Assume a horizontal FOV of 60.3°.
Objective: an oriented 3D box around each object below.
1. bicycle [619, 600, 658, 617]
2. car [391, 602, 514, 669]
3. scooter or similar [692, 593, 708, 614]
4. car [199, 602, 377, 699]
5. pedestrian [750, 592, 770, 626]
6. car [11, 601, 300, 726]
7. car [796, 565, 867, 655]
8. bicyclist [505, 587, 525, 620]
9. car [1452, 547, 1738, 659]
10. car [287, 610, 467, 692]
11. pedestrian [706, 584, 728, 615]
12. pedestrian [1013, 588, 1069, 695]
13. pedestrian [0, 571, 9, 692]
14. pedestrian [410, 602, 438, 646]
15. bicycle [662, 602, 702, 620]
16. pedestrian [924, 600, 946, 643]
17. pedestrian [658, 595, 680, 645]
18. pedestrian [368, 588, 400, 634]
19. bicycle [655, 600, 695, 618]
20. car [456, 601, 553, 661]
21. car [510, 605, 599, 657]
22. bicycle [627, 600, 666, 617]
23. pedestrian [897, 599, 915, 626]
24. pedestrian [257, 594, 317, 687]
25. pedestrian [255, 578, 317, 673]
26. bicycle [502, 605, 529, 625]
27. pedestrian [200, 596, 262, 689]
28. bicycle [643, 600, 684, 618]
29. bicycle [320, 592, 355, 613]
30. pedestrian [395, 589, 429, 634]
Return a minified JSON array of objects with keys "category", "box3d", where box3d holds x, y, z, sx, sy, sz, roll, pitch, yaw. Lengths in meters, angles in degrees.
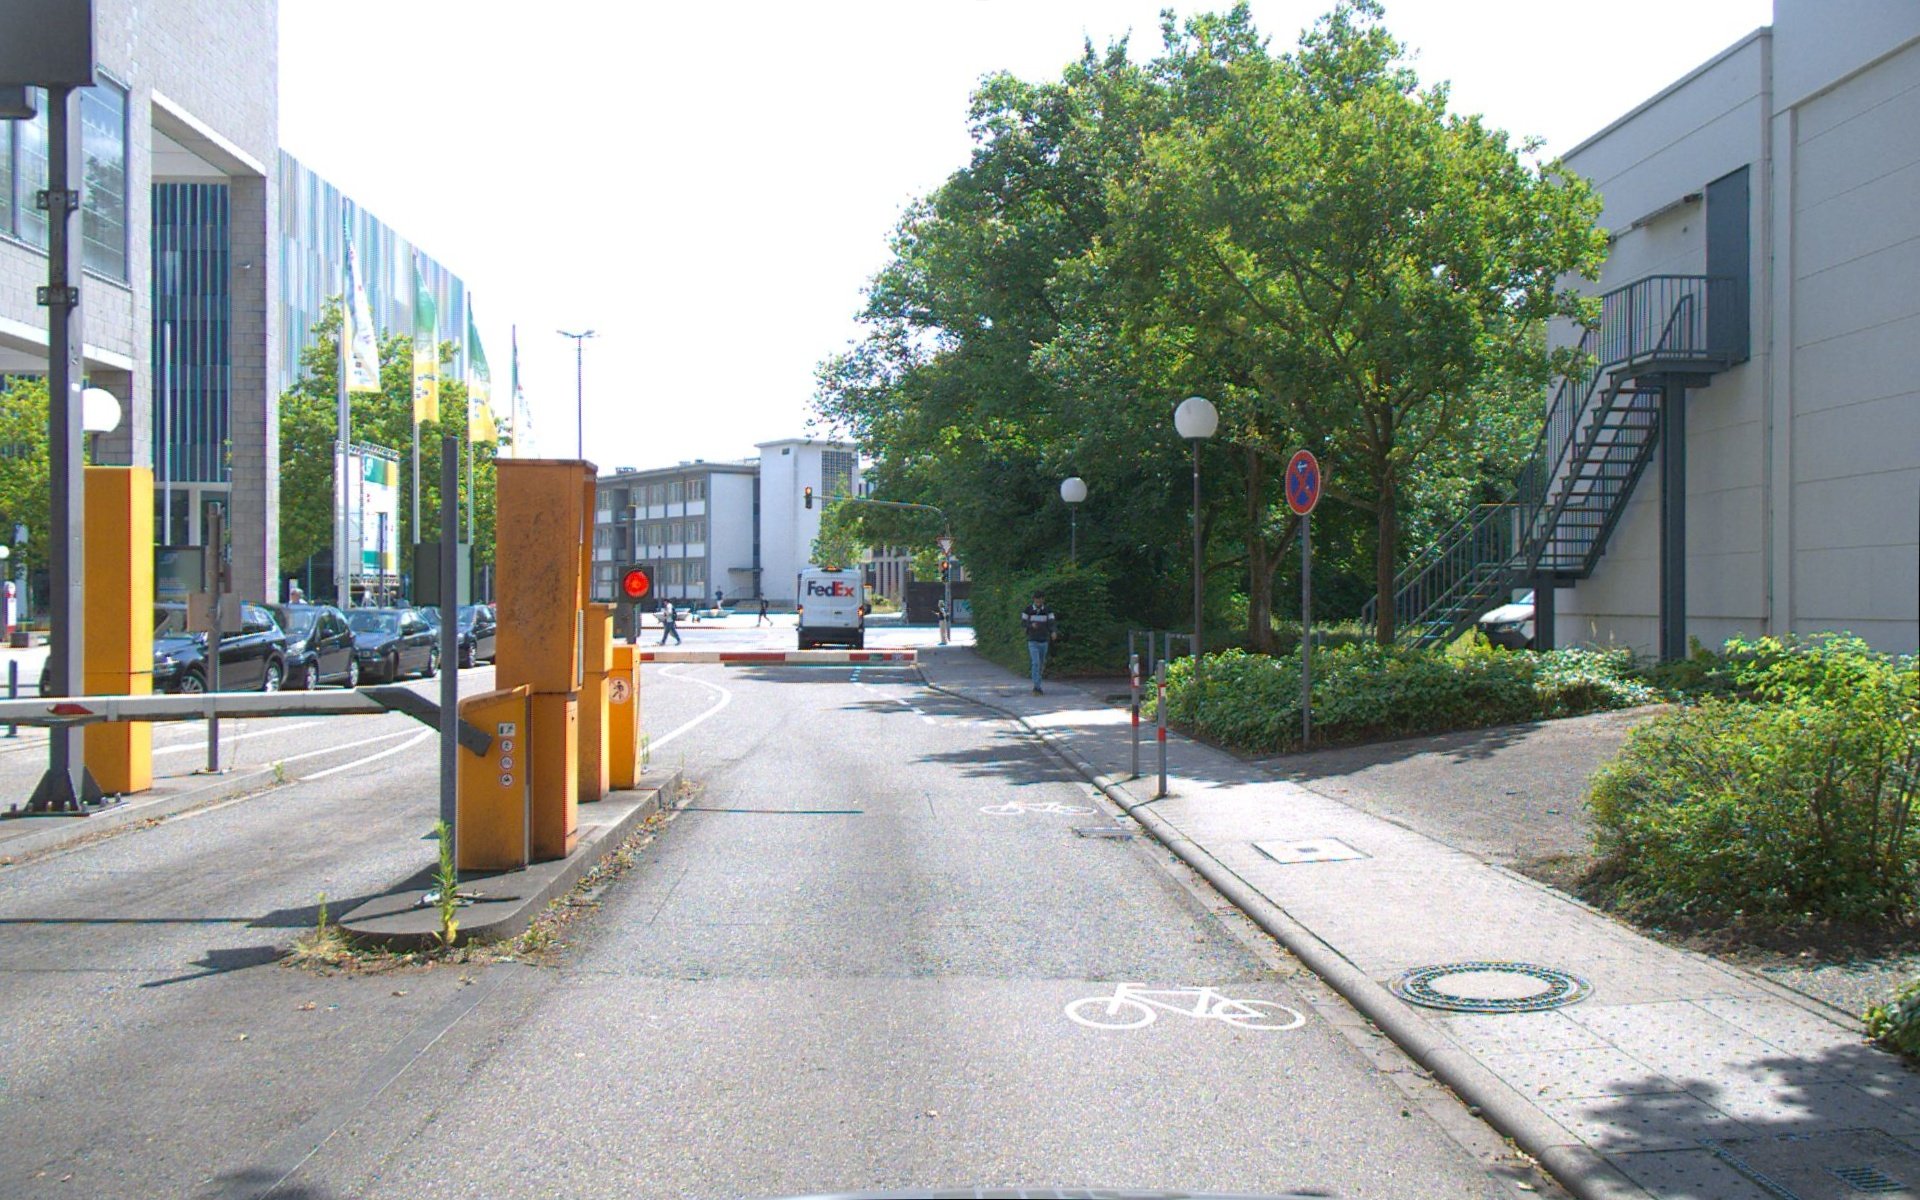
[{"category":"bicycle","box3d":[-25.894,0.673,133.254,2.938,1.387,1.101,1,-1,-41]},{"category":"car","box3d":[-12.228,0.822,40.127,1.712,1.493,4.195,2,0,-1]},{"category":"scooter or similar","box3d":[-15.061,0.223,95.742,0.704,1.199,2.716,0,0,-13]},{"category":"car","box3d":[-11.306,0.808,28.079,1.606,1.493,3.704,2,0,-3]},{"category":"pedestrian","box3d":[-11.351,0.525,93.844,1.059,1.903,0.832,0,0,-4]},{"category":"car","box3d":[-10.903,0.788,22.846,1.822,1.493,4.716,2,0,-3]},{"category":"car","box3d":[-3.927,0.275,51.267,2.053,2.611,5.598,-1,0,-3]},{"category":"bicyclist","box3d":[-25.247,0.199,93.789,0.772,1.849,1.000,0,0,6]},{"category":"car","box3d":[12.145,0.057,31.845,4.728,2.049,2.061,-1,0,-2]},{"category":"car","box3d":[-11.412,0.945,32.750,1.822,1.402,5.015,2,0,-1]},{"category":"pedestrian","box3d":[-15.850,-0.037,108.064,1.116,2.049,1.157,0,0,11]},{"category":"pedestrian","box3d":[1.309,0.661,26.997,0.725,1.704,1.255,0,0,-6]},{"category":"pedestrian","box3d":[-20.086,0.645,33.881,0.742,2.464,0.738,0,0,21]},{"category":"pedestrian","box3d":[-20.114,0.903,62.073,0.755,1.626,0.798,0,0,-1]},{"category":"bicycle","box3d":[-21.464,0.829,127.884,2.938,1.387,1.101,1,-1,-41]},{"category":"pedestrian","box3d":[-0.944,0.811,62.420,0.717,1.603,0.774,1,0,-8]},{"category":"pedestrian","box3d":[-11.093,0.747,63.144,0.705,1.892,0.770,0,0,-1]},{"category":"pedestrian","box3d":[-24.294,0.473,69.798,0.835,1.909,1.006,0,0,20]},{"category":"bicycle","box3d":[-22.242,0.720,128.944,2.938,1.387,1.101,1,-1,-41]},{"category":"car","box3d":[-12.402,0.813,45.252,1.643,1.493,3.909,2,0,-2]},{"category":"car","box3d":[-12.285,0.910,50.369,1.643,1.420,4.660,2,0,-2]},{"category":"bicycle","box3d":[-25.069,0.673,132.240,2.938,1.387,1.101,1,-1,-41]},{"category":"pedestrian","box3d":[-3.104,0.719,94.358,0.813,1.550,0.809,0,0,-22]},{"category":"pedestrian","box3d":[-15.160,0.890,37.266,0.965,2.049,1.163,0,0,-7]},{"category":"pedestrian","box3d":[-14.684,0.548,36.072,0.965,2.049,1.163,0,0,-7]},{"category":"bicycle","box3d":[-25.230,0.844,93.958,0.754,1.142,2.028,0,0,7]},{"category":"pedestrian","box3d":[-16.237,0.928,36.883,0.965,2.049,1.163,0,0,-7]},{"category":"bicycle","box3d":[-23.328,0.716,130.152,2.938,1.387,1.257,1,-1,-41]},{"category":"bicycle","box3d":[-38.026,0.133,101.010,1.362,1.259,2.915,1,0,-34]},{"category":"pedestrian","box3d":[-22.956,0.489,69.283,0.843,1.850,1.096,0,0,20]}]
